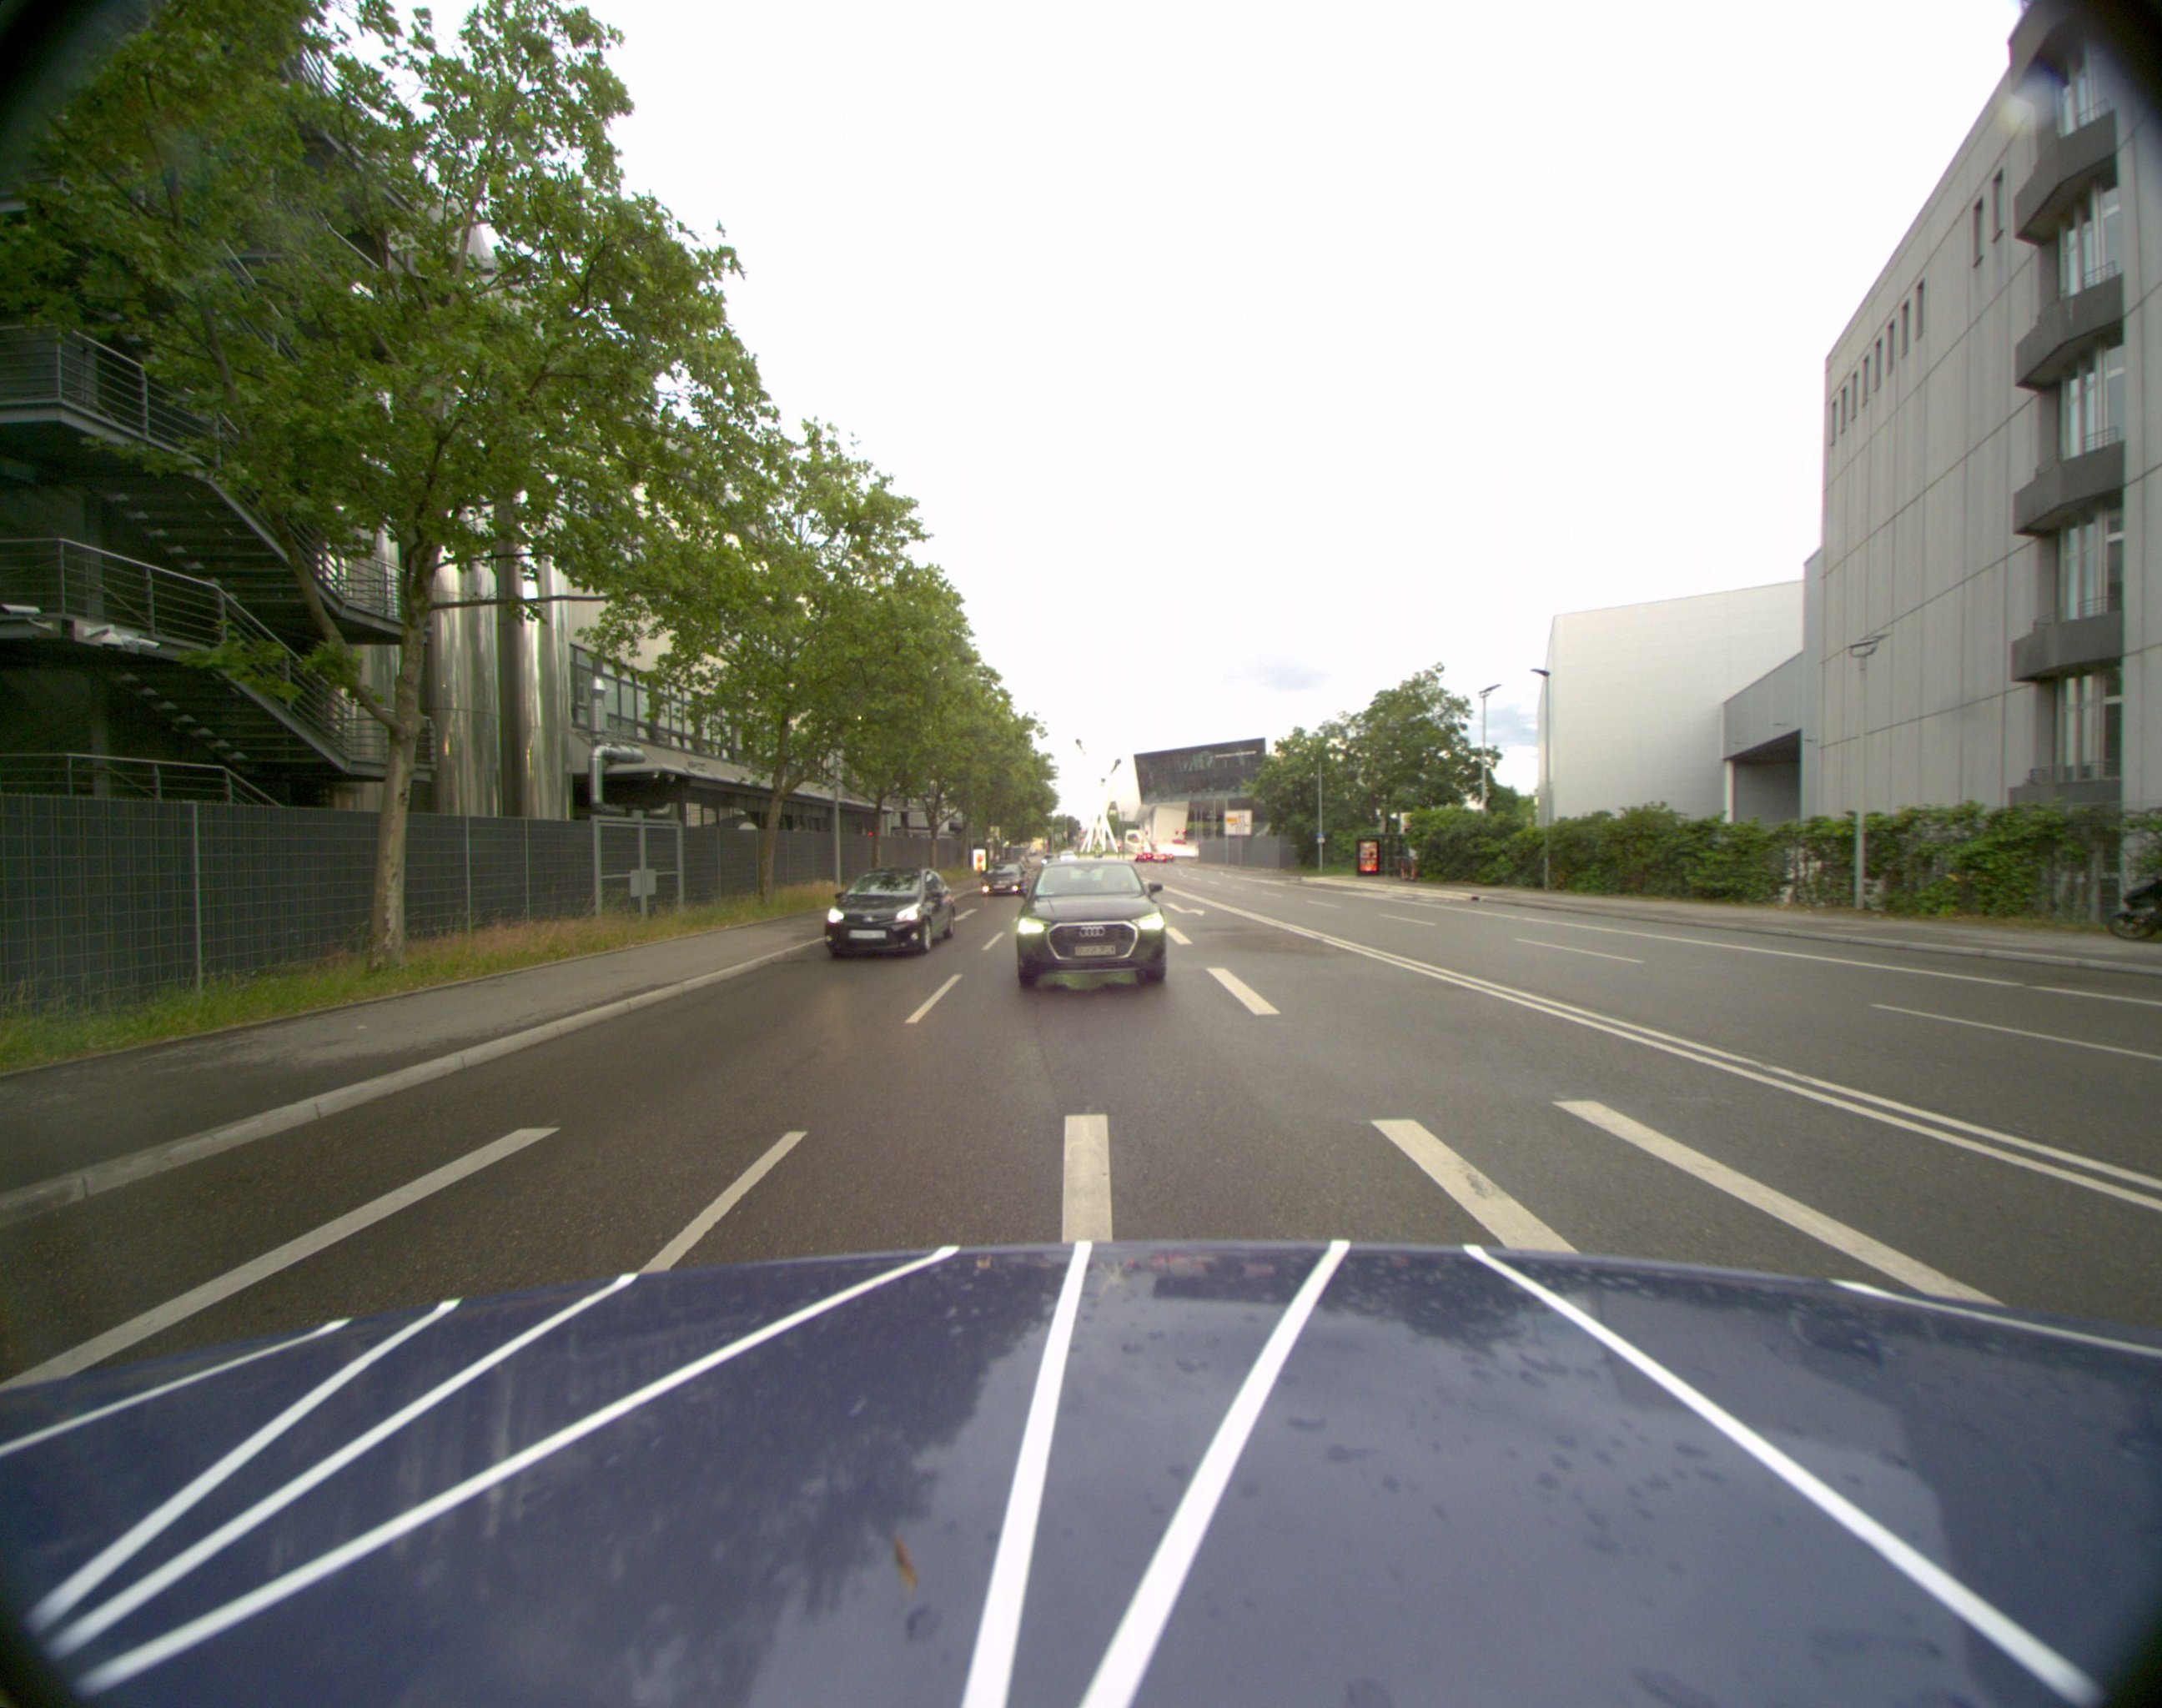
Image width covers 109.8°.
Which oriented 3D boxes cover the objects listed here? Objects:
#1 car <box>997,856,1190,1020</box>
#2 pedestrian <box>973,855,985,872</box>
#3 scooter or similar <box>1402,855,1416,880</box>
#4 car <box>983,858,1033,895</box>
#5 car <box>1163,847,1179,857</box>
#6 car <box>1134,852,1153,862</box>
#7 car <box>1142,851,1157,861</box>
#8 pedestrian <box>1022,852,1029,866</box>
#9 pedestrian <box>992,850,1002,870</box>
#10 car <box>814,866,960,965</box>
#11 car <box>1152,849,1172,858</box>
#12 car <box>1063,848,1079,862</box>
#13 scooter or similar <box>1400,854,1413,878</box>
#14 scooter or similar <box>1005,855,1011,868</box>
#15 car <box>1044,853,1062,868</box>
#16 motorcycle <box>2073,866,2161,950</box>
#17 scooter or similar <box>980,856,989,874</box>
[{"bbox_3d":[0.072,0.872,10.526,1.951,1.609,5.276,-2,0,-1],"label":"car"},{"bbox_3d":[-8.609,0.833,63.964,0.932,1.408,0.698,-1,1,-1],"label":"pedestrian"},{"bbox_3d":[15.981,0.625,37.045,0.379,1.174,1.379,0,1,14],"label":"scooter or similar"},{"bbox_3d":[-3.190,0.971,34.193,1.842,1.444,4.785,-2,0,-1],"label":"car"},{"bbox_3d":[15.092,-0.273,127.492,1.862,1.641,3.792,0,0,19],"label":"car"},{"bbox_3d":[10.082,0.511,122.552,2.255,1.469,3.884,-1,1,18],"label":"car"},{"bbox_3d":[11.521,0.379,128.109,1.878,1.641,3.857,0,0,16],"label":"car"},{"bbox_3d":[-6.772,0.602,92.450,0.723,1.610,0.833,1,1,-1],"label":"pedestrian"},{"bbox_3d":[-7.475,0.515,67.702,0.778,1.700,0.729,-1,1,-1],"label":"pedestrian"},{"bbox_3d":[-3.390,1.003,14.074,1.881,1.485,4.075,0,0,-3],"label":"car"},{"bbox_3d":[12.917,-0.088,120.803,2.267,1.469,4.052,-1,1,18],"label":"car"},{"bbox_3d":[-1.320,0.108,99.610,1.951,1.879,4.490,0,0,-1],"label":"car"},{"bbox_3d":[16.412,0.606,38.360,0.389,1.173,1.251,0,1,13],"label":"scooter or similar"},{"bbox_3d":[-7.064,0.732,73.621,0.437,1.288,1.300,-1,1,3],"label":"scooter or similar"},{"bbox_3d":[-3.201,0.727,87.410,1.951,1.610,4.072,0,0,-1],"label":"car"},{"bbox_3d":[16.717,0.829,11.416,0.786,1.243,2.157,-1,1,0],"label":"motorcycle"},{"bbox_3d":[-6.965,0.794,54.935,0.329,1.301,1.246,-1,1,4],"label":"scooter or similar"}]
